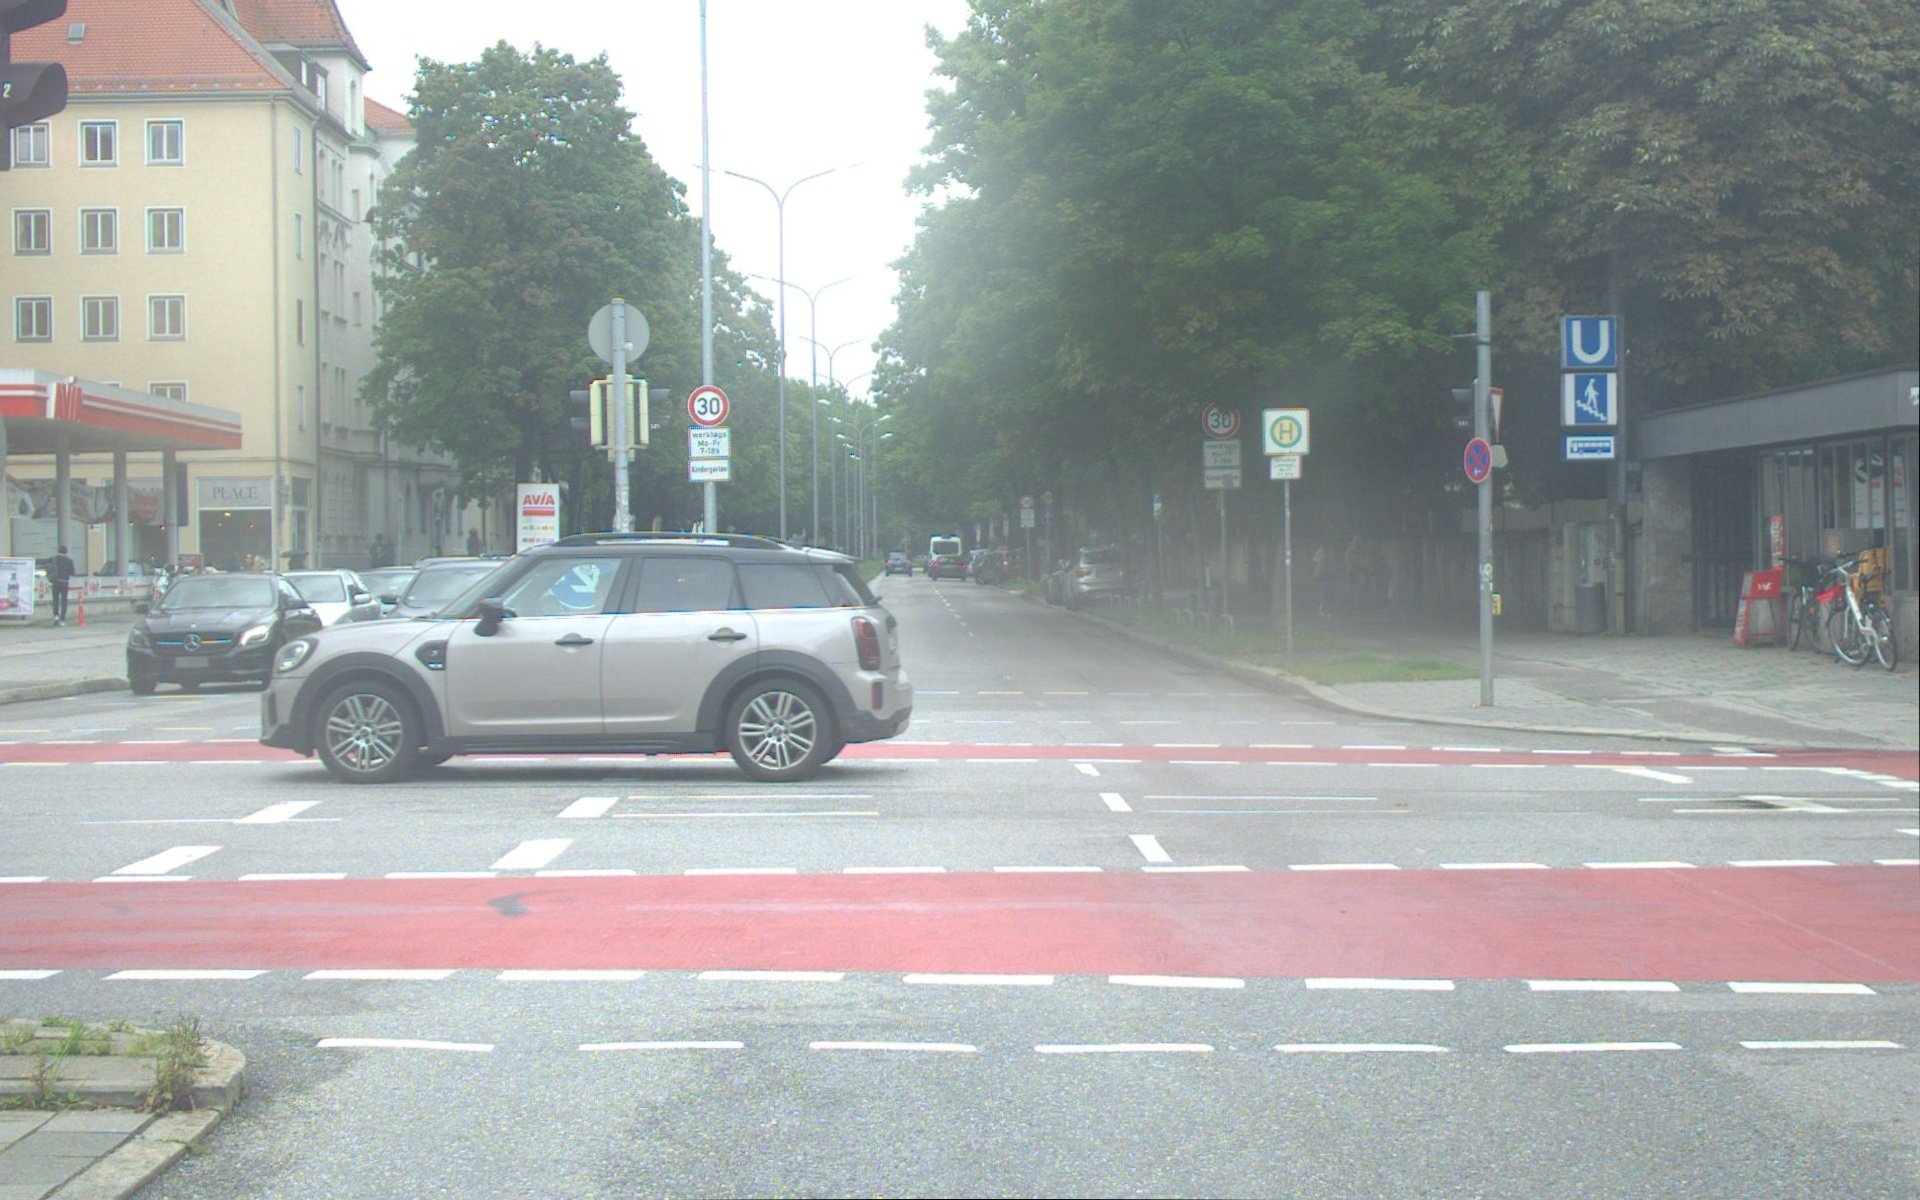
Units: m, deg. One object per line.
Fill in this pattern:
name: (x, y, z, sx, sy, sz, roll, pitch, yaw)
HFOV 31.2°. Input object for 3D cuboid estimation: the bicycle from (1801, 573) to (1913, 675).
bicycle: (9.404, 0.240, 36.093, 0.556, 1.011, 2.016, -1, 1, -3)

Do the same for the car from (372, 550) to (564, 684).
car: (-5.772, 0.162, 40.761, 1.759, 1.488, 4.000, -1, 1, -1)

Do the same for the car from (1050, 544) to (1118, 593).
car: (3.577, -0.927, 99.750, 1.743, 1.358, 3.807, -1, 1, -1)

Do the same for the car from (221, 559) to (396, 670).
car: (-9.123, 0.175, 48.433, 1.759, 1.455, 4.000, -1, 1, -1)

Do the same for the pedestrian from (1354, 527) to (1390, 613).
pedestrian: (8.083, -0.596, 67.446, 0.678, 1.677, 0.682, 0, 1, 5)

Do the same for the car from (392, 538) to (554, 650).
car: (-6.770, -0.117, 48.153, 1.759, 1.488, 4.000, -1, 1, -1)

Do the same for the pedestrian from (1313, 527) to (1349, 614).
pedestrian: (7.253, -0.578, 67.307, 0.678, 1.677, 0.682, 0, 1, 5)

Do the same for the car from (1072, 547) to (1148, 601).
car: (3.888, -0.693, 89.739, 1.743, 1.358, 3.807, -1, 1, -1)

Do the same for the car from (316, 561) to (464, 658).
car: (-9.092, 0.121, 55.118, 1.759, 1.455, 4.000, -1, 1, -1)

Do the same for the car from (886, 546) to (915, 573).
car: (-3.779, -2.563, 217.881, 1.857, 1.678, 4.000, -1, 1, -1)

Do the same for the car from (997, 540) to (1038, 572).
car: (2.653, -2.043, 159.682, 1.743, 1.422, 3.899, -1, 1, -1)

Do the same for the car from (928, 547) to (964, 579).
car: (-0.776, -2.013, 187.642, 1.922, 1.678, 4.000, -1, 1, -1)

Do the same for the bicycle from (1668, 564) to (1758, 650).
bicycle: (9.219, 0.075, 42.148, 0.556, 1.011, 2.016, -1, 1, -3)

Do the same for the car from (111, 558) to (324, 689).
car: (-8.889, 0.245, 41.436, 1.759, 1.455, 4.000, -1, 1, -1)

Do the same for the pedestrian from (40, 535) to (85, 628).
pedestrian: (-19.622, -0.410, 75.192, 0.730, 2.007, 0.834, 1, 0, -1)

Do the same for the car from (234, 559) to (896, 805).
car: (-2.518, 0.511, 22.637, 4.168, 1.508, 1.695, -1, 1, -1)

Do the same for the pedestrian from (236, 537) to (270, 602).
pedestrian: (-17.858, -0.780, 86.883, 0.696, 1.632, 0.738, -1, 1, -1)

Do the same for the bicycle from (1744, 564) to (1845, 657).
bicycle: (9.415, 0.104, 38.825, 0.556, 1.011, 2.016, -1, 1, -3)
